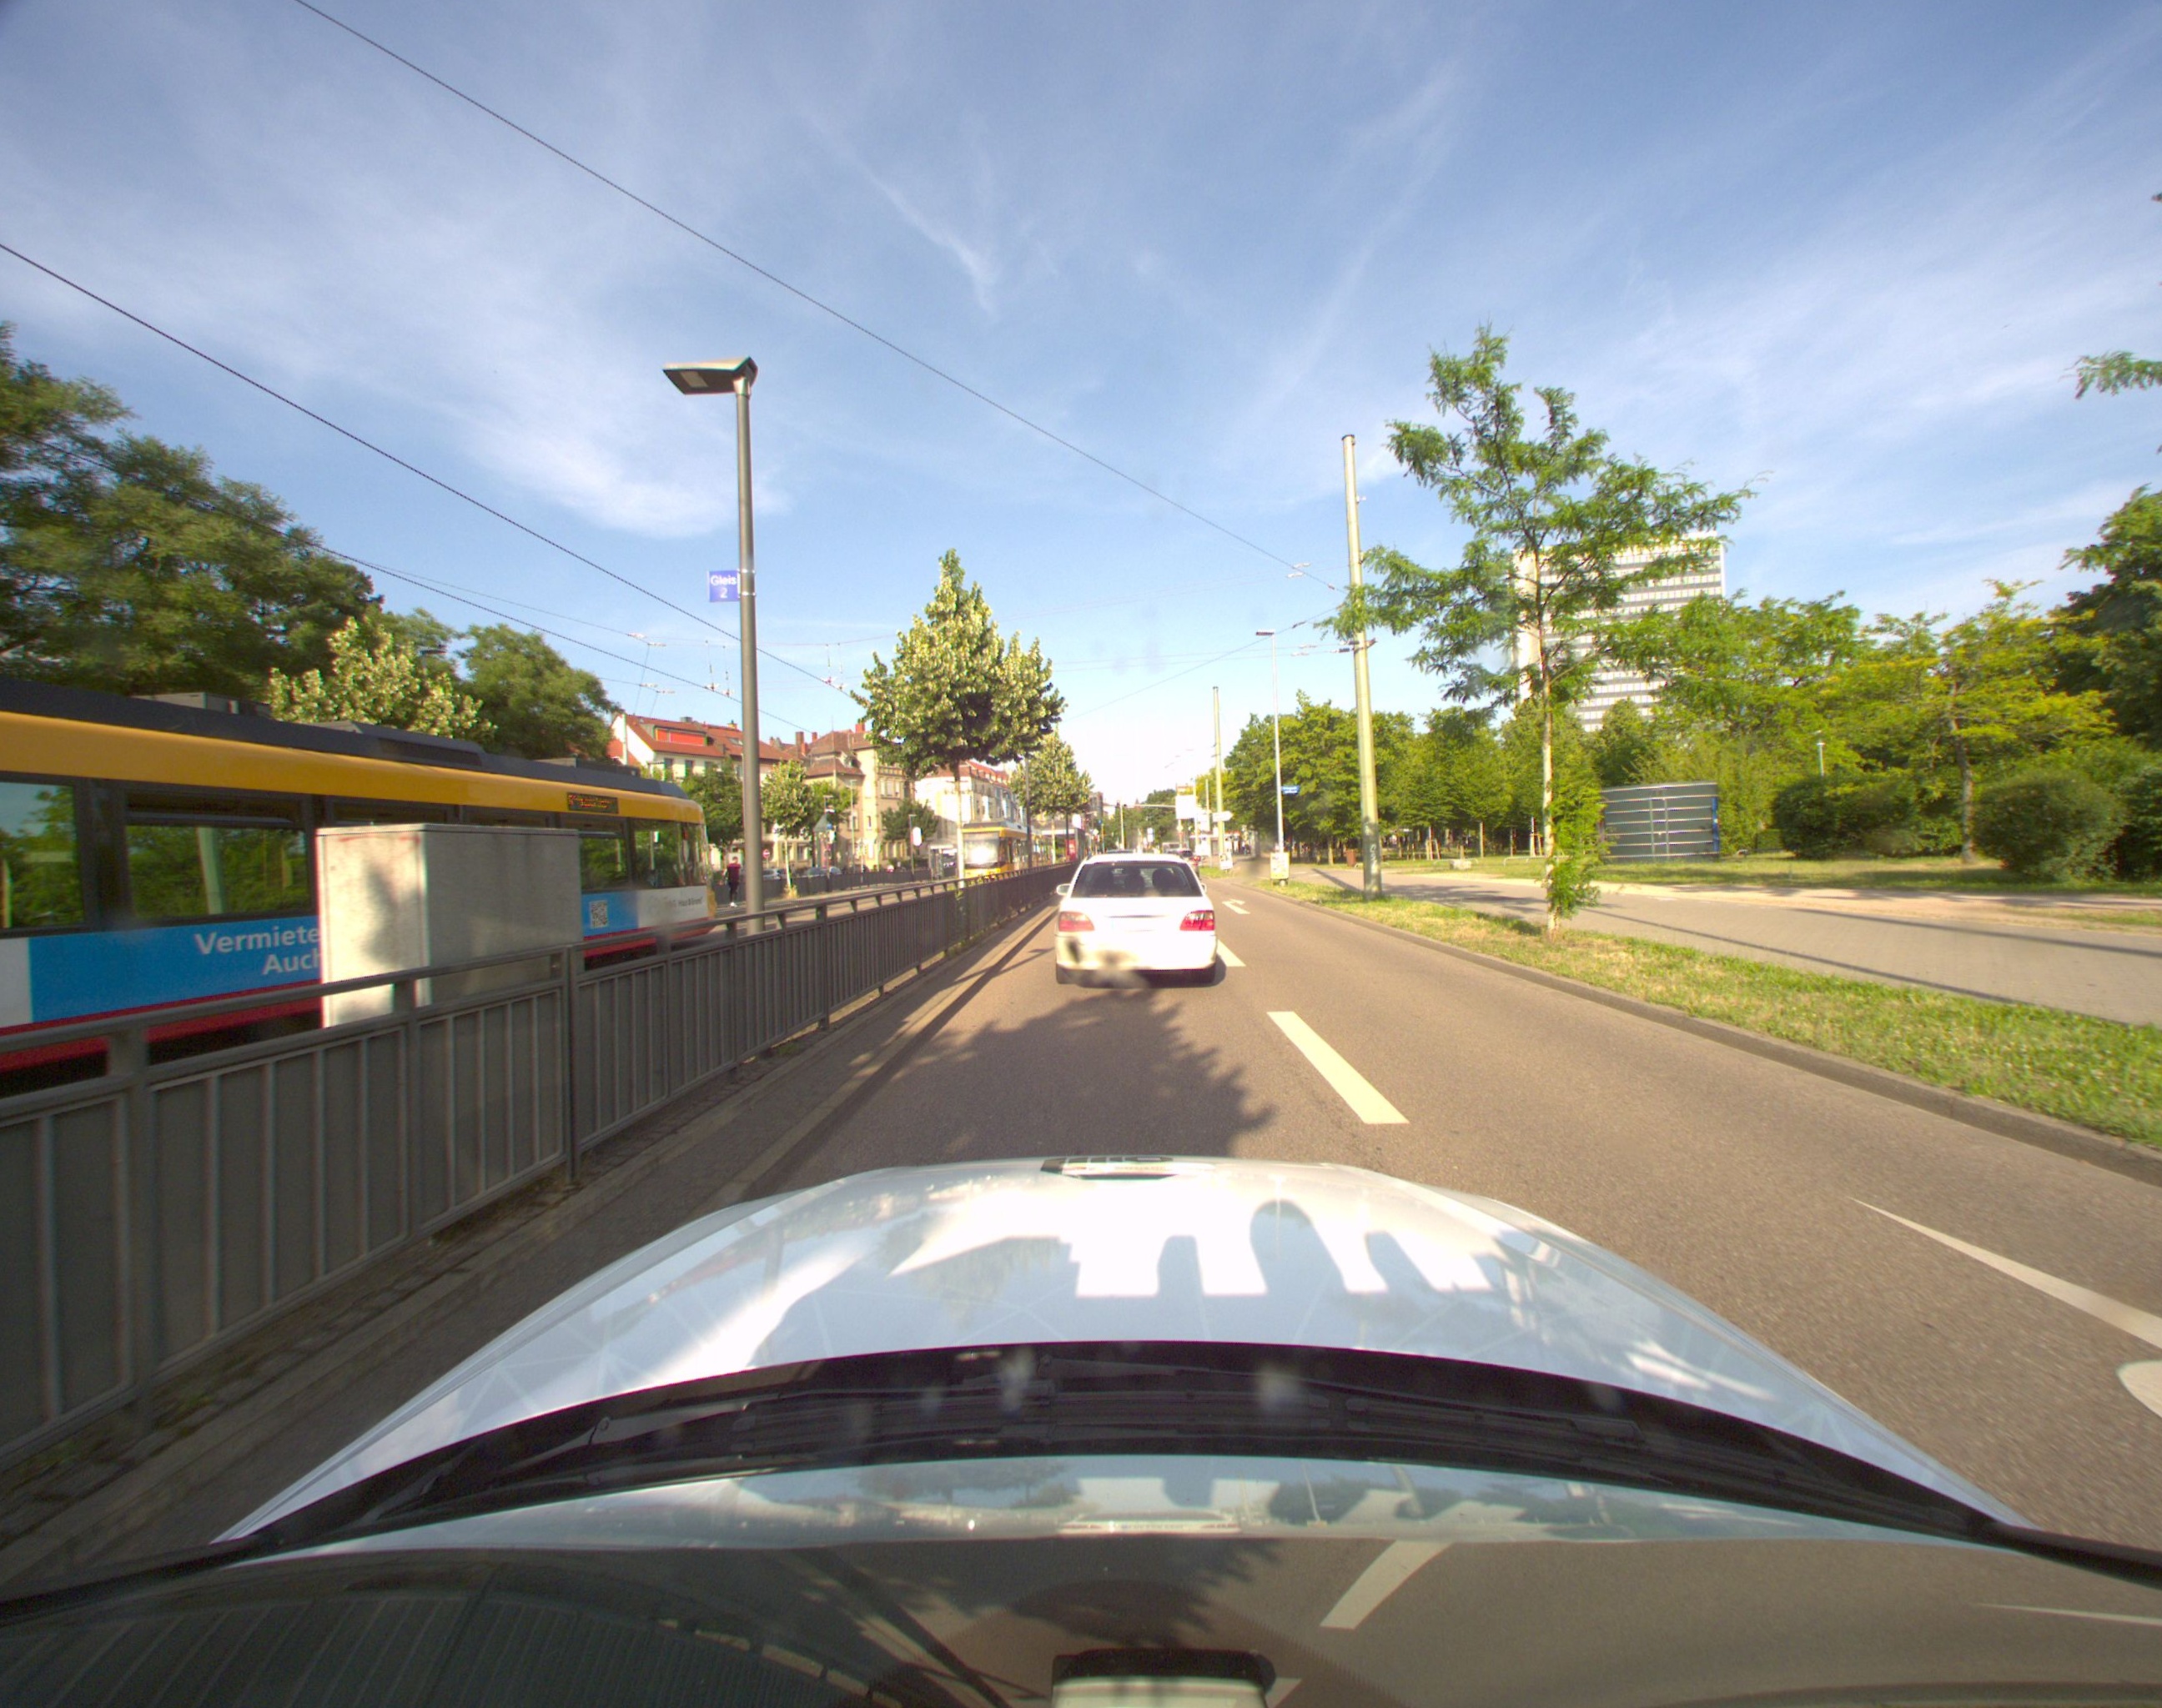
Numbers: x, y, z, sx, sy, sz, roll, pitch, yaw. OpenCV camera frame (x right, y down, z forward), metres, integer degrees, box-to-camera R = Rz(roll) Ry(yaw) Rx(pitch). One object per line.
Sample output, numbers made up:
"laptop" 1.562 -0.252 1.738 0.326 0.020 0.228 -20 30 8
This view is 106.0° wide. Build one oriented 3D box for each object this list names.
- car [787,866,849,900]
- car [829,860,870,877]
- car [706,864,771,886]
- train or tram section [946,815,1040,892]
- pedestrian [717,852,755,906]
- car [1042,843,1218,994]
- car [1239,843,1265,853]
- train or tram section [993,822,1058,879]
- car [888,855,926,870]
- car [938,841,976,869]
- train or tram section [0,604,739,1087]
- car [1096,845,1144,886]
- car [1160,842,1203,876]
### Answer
"car" -14.640 1.584 45.502 1.986 1.684 4.002 -2 0 2
"car" -26.160 1.665 91.880 3.953 1.750 2.010 -2 0 20
"car" -24.970 1.521 59.350 3.955 1.398 2.009 -2 0 17
"train or tram section" -4.360 -0.109 43.880 2.837 3.479 13.211 -1 1 3
"pedestrian" -11.427 0.808 27.016 0.832 1.733 0.773 -3 0 3
"car" 0.668 0.719 10.160 1.750 1.504 4.005 0 -2 5
"car" 29.951 -1.044 142.457 3.949 1.651 2.012 -3 0 28
"train or tram section" -3.634 -0.272 56.963 2.837 3.479 13.211 -2 0 3
"car" -21.457 1.020 100.594 2.183 1.628 4.745 -2 0 26
"car" -13.135 0.070 86.893 2.586 2.735 7.473 -2 0 2
"train or tram section" -9.172 -0.054 10.037 3.149 3.479 14.481 -2 0 2
"car" 1.827 0.488 36.674 1.778 1.690 4.008 -2 0 7
"car" 5.127 0.234 41.484 2.022 1.605 4.008 -2 0 7
